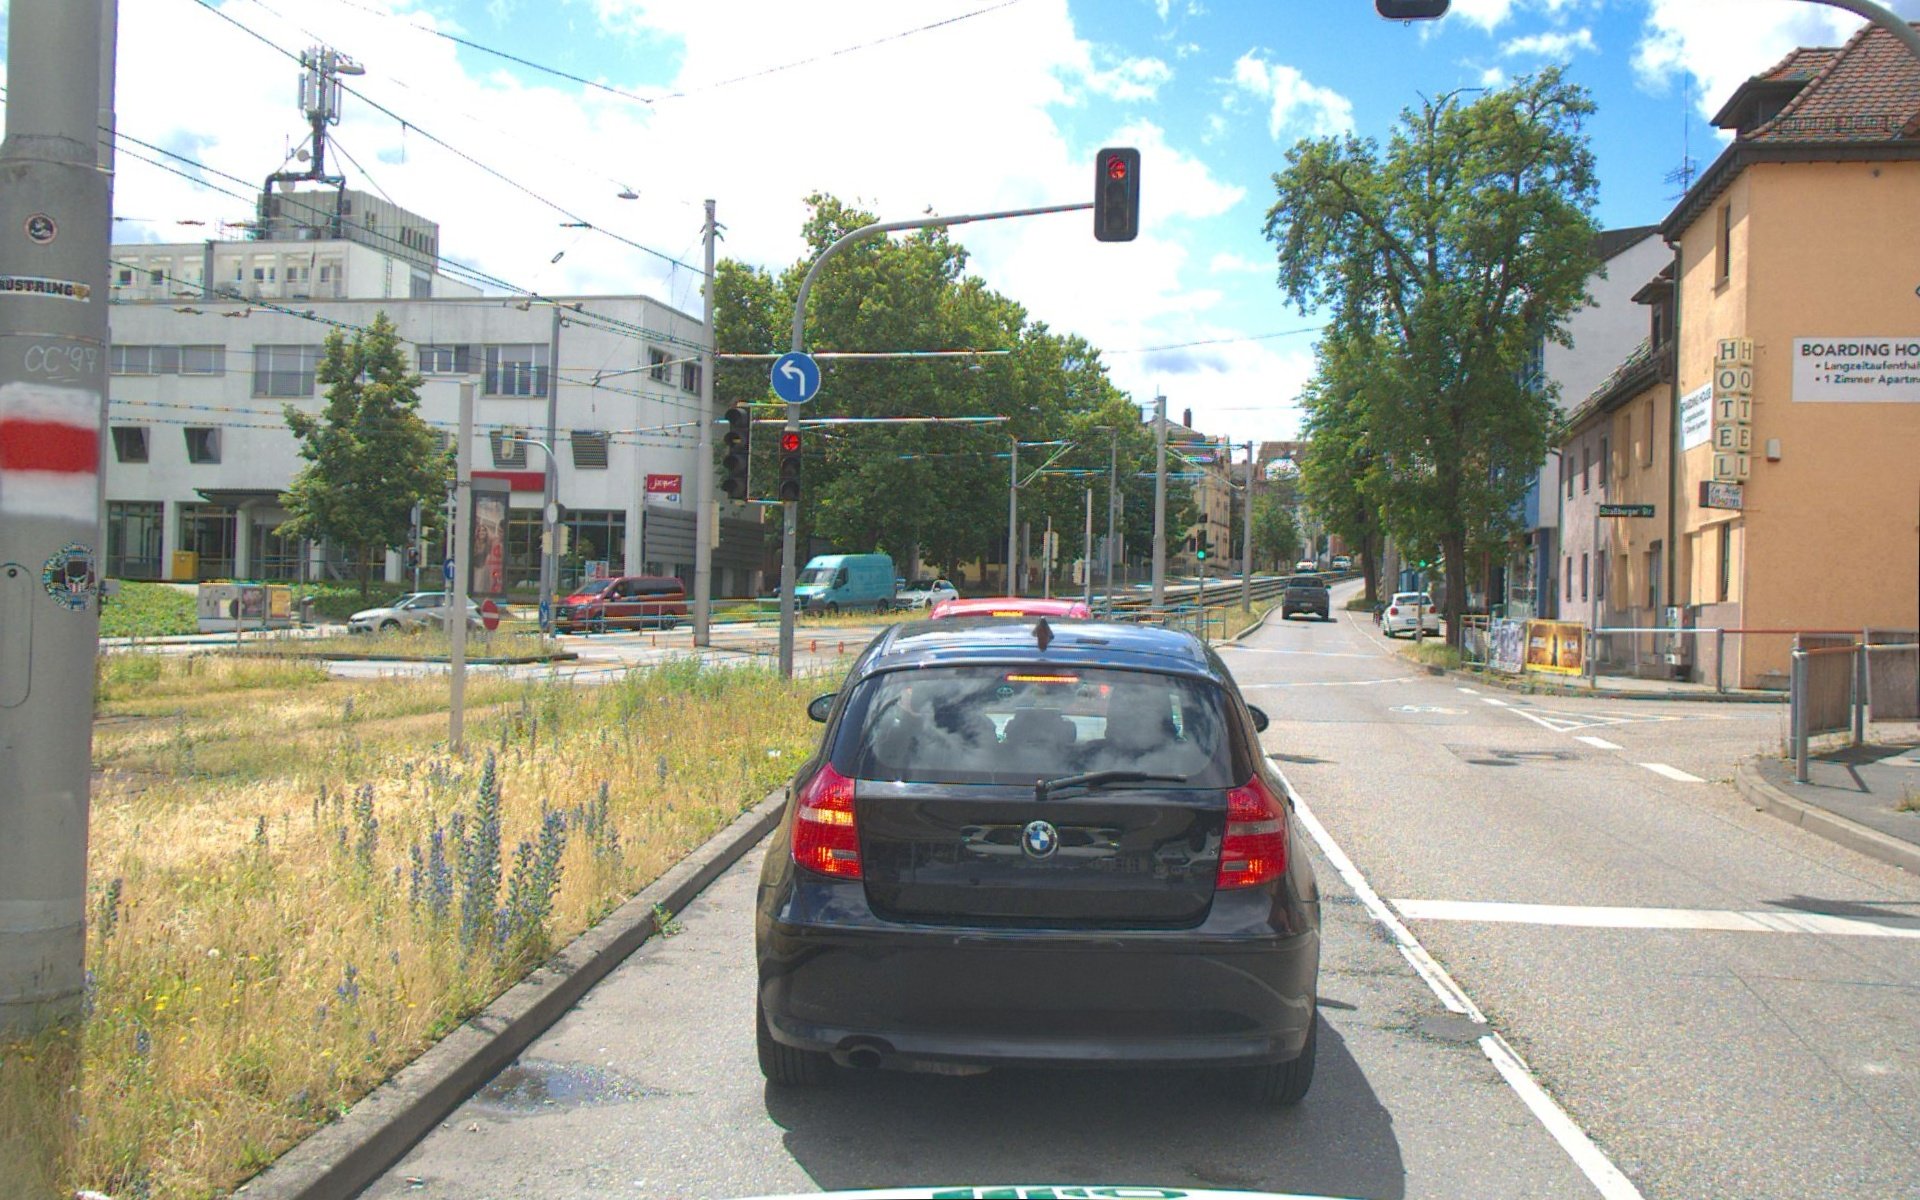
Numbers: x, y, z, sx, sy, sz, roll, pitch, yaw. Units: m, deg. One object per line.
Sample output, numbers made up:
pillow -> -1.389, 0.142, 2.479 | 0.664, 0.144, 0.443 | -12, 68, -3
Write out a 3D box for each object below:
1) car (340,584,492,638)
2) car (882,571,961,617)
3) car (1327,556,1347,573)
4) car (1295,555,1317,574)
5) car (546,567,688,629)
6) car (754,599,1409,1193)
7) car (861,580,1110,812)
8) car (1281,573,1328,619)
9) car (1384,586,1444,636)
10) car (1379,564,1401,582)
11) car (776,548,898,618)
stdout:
car -> -16.790, 0.338, 51.175 | 1.828, 1.613, 4.139 | -1, -1, 45
car -> -1.660, -0.235, 73.571 | 1.814, 1.962, 4.798 | -1, -1, 21
car -> 47.423, -4.464, 207.823 | 1.952, 2.049, 4.000 | -1, -1, 21
car -> 39.420, -4.046, 188.397 | 1.952, 2.049, 4.000 | -1, -1, 21
car -> -11.721, -0.051, 56.847 | 1.822, 2.044, 4.777 | -1, -1, 37
car -> 0.215, 0.763, 6.199 | 1.667, 1.477, 3.997 | 0, -1, -3
car -> 0.341, 0.644, 12.728 | 1.590, 1.499, 4.002 | 0, -1, 6
car -> 15.074, -0.155, 72.365 | 1.956, 1.920, 5.154 | 0, -1, 12
car -> 15.362, 0.375, 56.147 | 1.749, 1.624, 4.003 | 0, -1, 12
car -> 43.017, -2.686, 165.356 | 1.951, 1.691, 4.002 | -1, -1, 17
car -> -4.945, -0.643, 67.262 | 2.091, 2.701, 5.678 | -1, -1, 31
